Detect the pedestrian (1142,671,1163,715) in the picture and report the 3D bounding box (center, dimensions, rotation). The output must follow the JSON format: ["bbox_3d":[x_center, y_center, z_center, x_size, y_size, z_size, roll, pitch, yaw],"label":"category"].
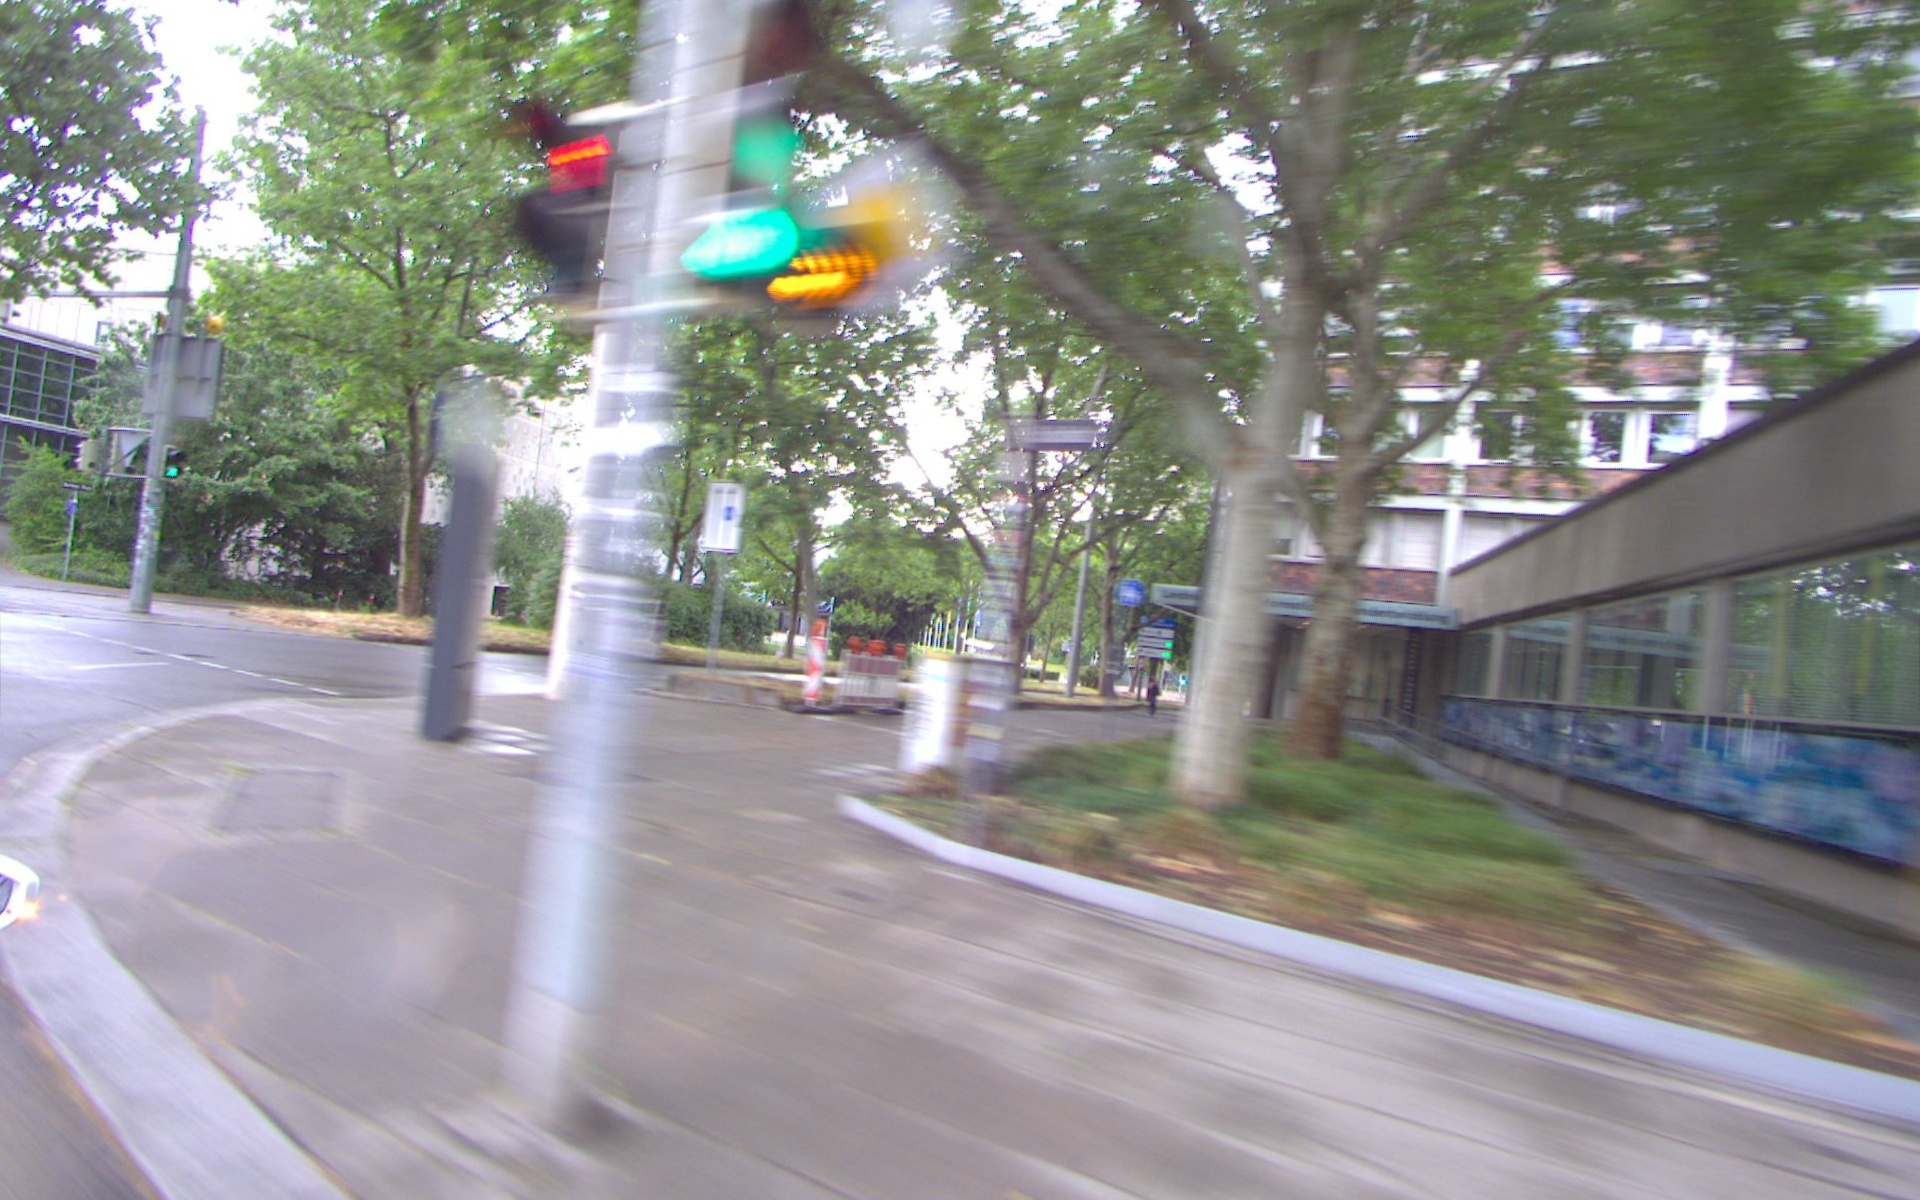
[{"bbox_3d":[7.640,3.688,39.905,0.512,1.657,0.935,7,-2,21],"label":"pedestrian"}]
